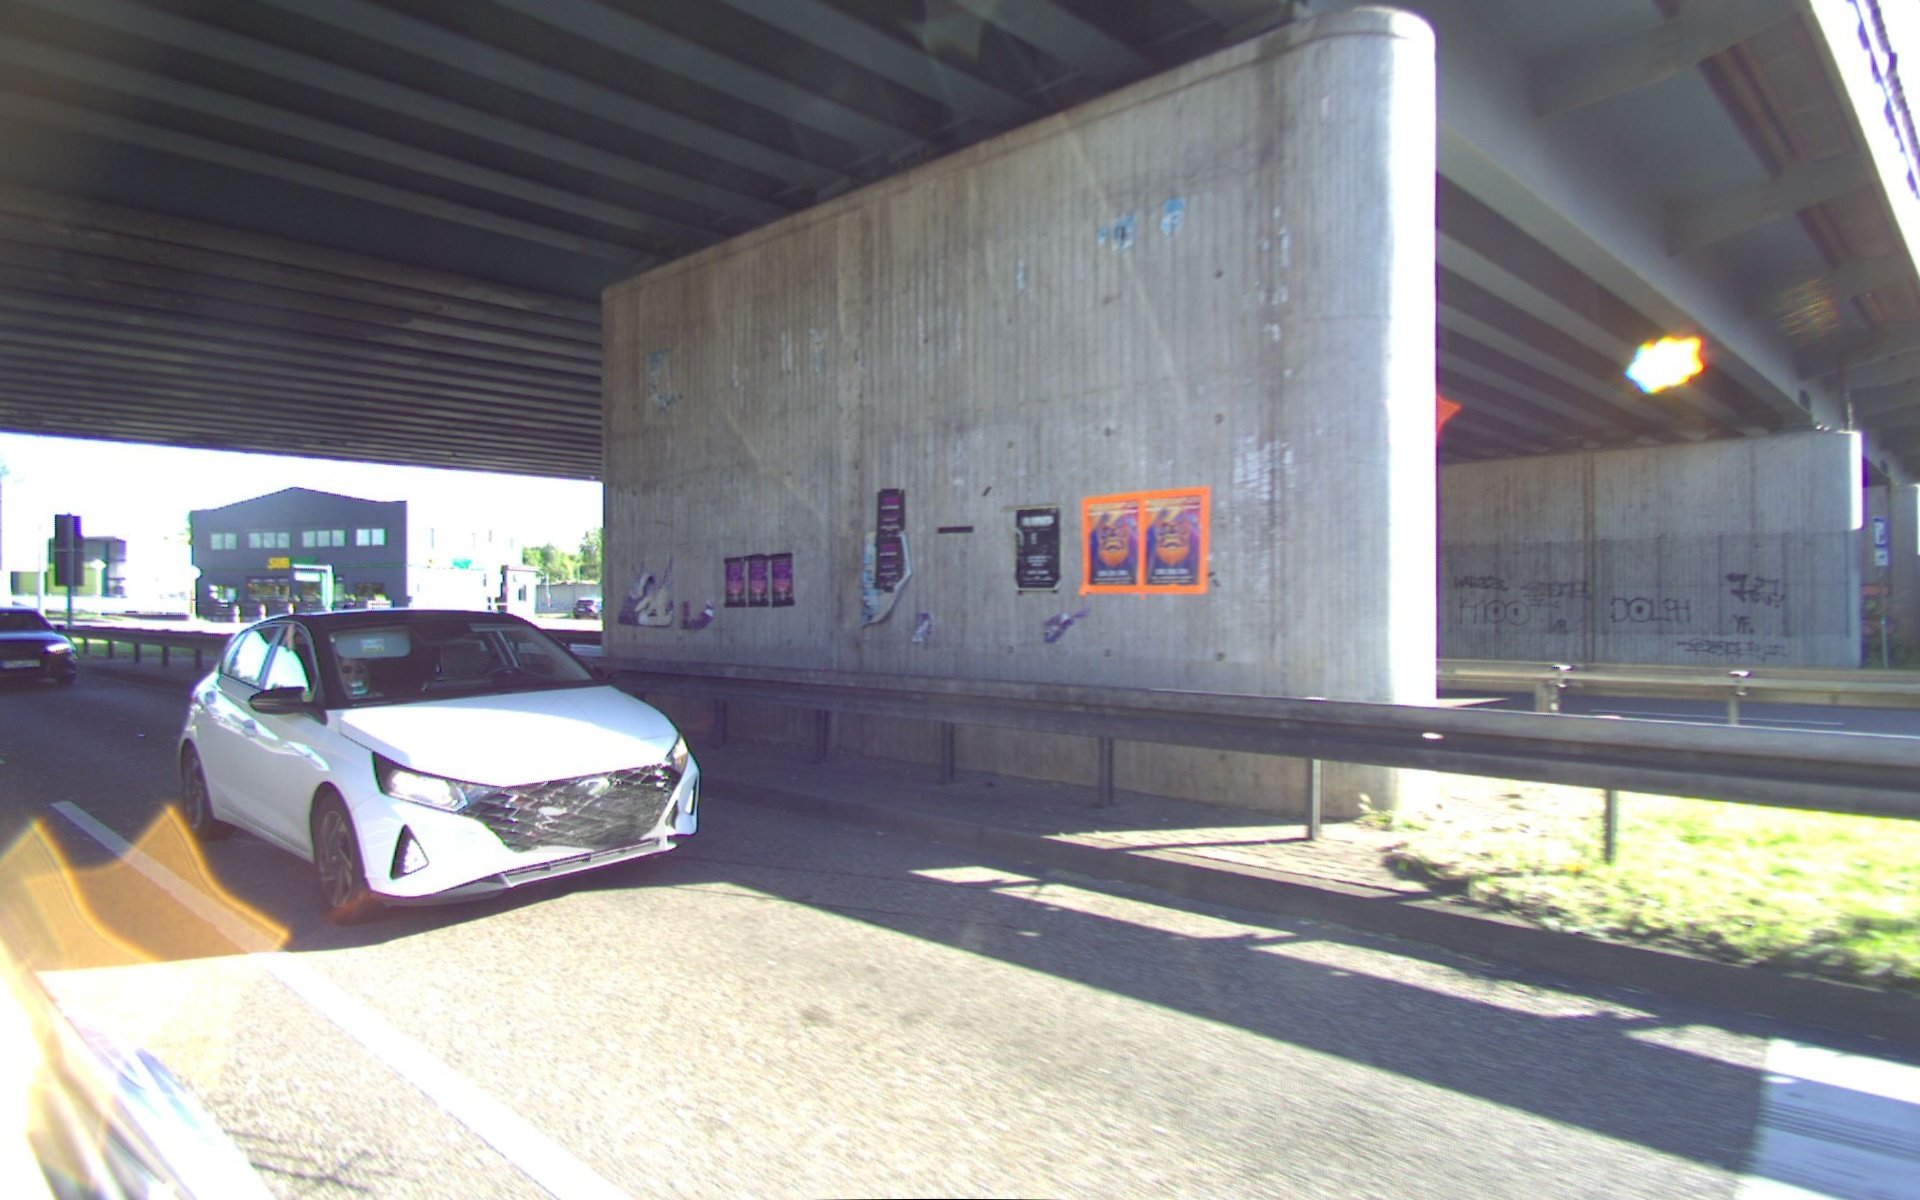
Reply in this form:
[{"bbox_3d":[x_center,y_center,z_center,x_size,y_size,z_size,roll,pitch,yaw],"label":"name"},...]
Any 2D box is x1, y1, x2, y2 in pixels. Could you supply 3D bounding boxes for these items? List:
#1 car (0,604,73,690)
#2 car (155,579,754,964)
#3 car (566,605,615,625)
[{"bbox_3d":[-17.643,0.837,18.323,3.978,1.431,1.825,-2,-1,40],"label":"car"},{"bbox_3d":[-3.137,0.670,5.893,3.989,1.491,1.715,-1,1,41],"label":"car"},{"bbox_3d":[-25.442,1.052,69.844,1.805,1.291,4.182,1,-2,0],"label":"car"}]
